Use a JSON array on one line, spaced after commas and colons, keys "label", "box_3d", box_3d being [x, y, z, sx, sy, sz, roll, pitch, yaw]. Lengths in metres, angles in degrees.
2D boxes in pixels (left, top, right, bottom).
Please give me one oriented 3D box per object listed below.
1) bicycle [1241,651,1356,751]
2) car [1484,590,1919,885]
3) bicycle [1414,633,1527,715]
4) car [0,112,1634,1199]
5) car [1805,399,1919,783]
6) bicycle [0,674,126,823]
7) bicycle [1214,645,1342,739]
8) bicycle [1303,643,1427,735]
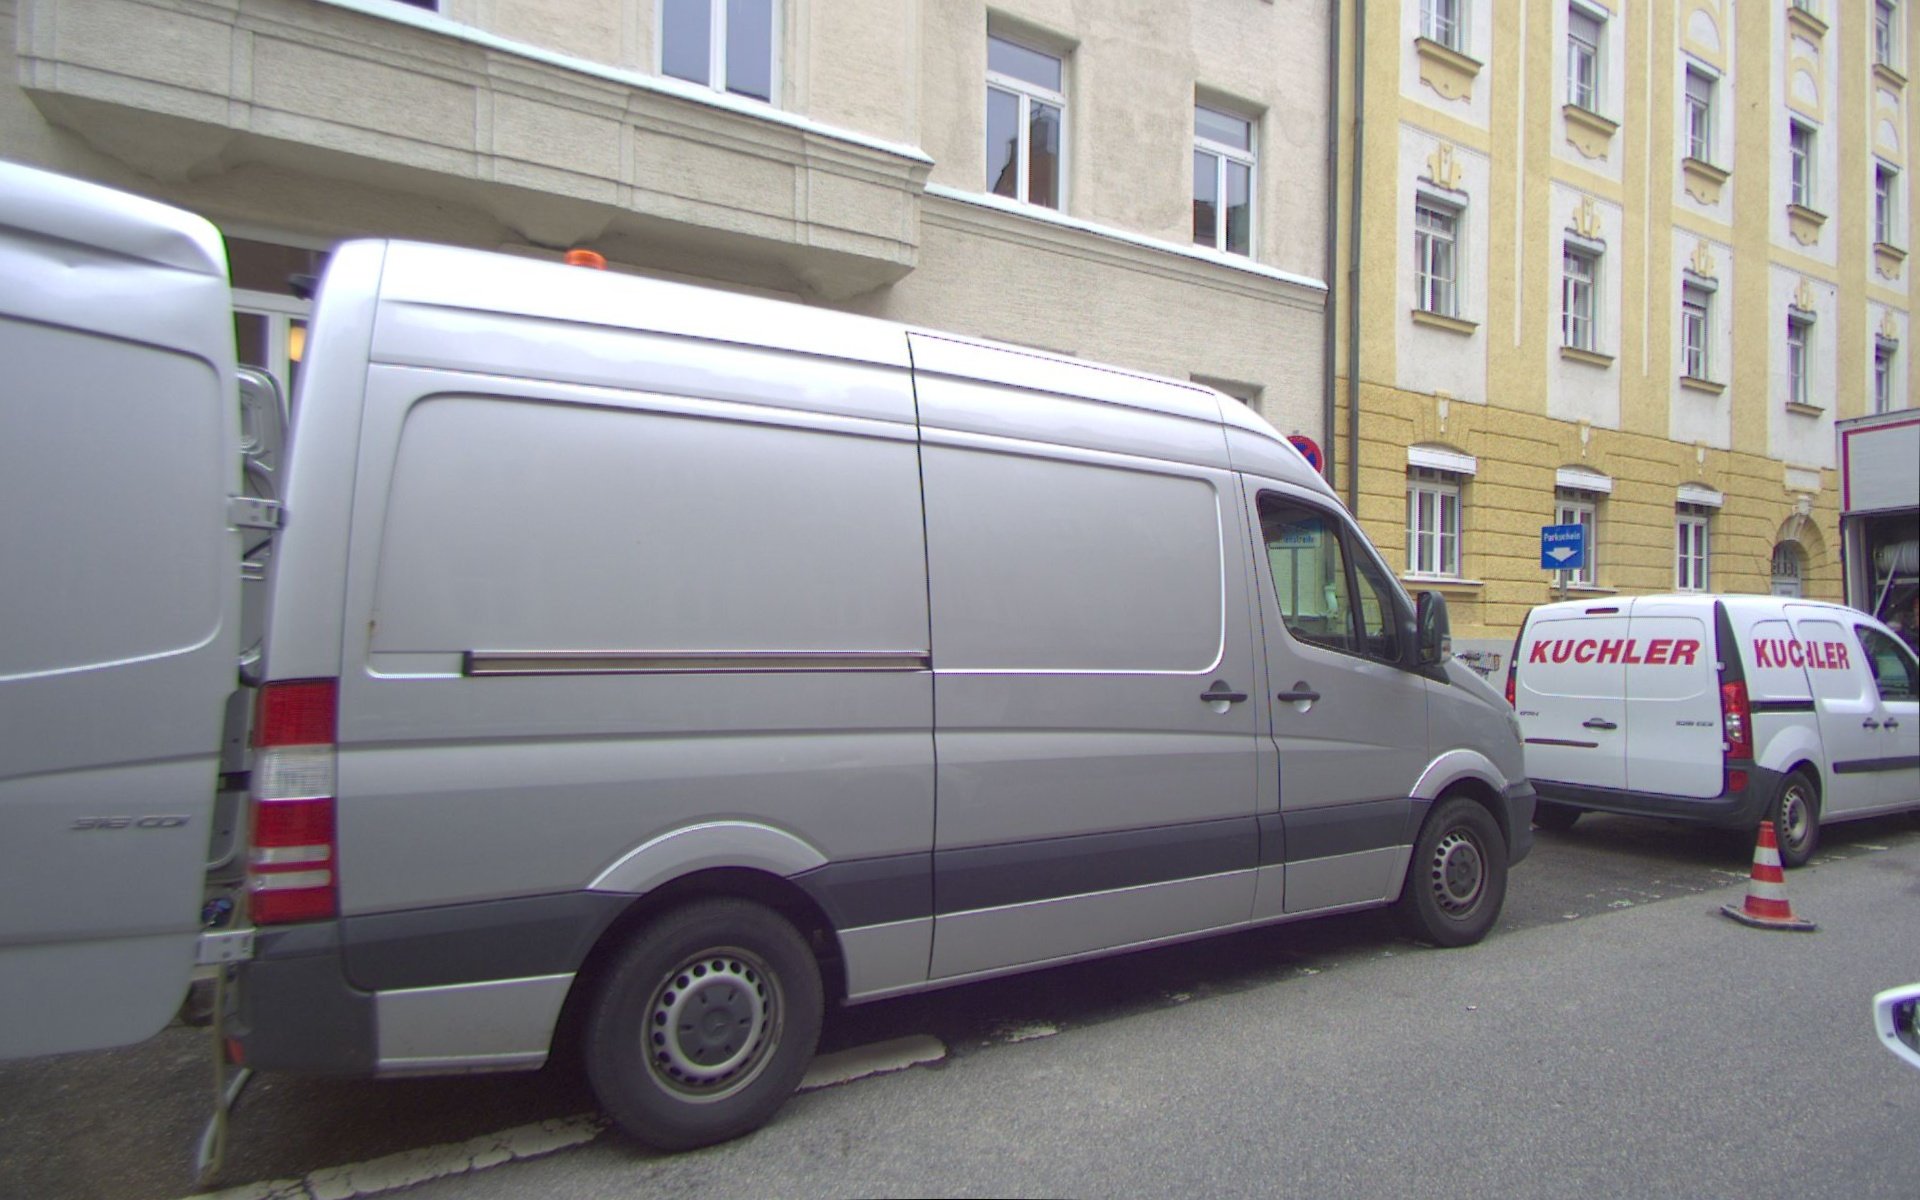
[{"label": "bicycle", "box_3d": [4.130, 1.191, 12.180, 1.848, 1.119, 0.397, 2, -1, -39]}, {"label": "car", "box_3d": [6.335, 0.930, 7.951, 4.272, 1.802, 1.756, 1, -3, -28]}, {"label": "bicycle", "box_3d": [7.419, 1.063, 14.570, 1.745, 1.119, 0.604, 2, -1, -30]}, {"label": "car", "box_3d": [-0.067, 0.391, 4.394, 6.793, 2.620, 2.048, 1, -5, -29]}, {"label": "car", "box_3d": [13.628, 0.003, 11.826, 8.618, 3.868, 2.800, 2, -2, -29]}, {"label": "bicycle", "box_3d": [-6.666, 0.984, 6.590, 1.779, 0.935, 0.394, 1, 1, -26]}, {"label": "bicycle", "box_3d": [4.058, 1.144, 12.753, 1.842, 1.119, 0.399, 2, -1, -30]}, {"label": "bicycle", "box_3d": [5.352, 1.154, 13.252, 1.745, 1.119, 0.504, 2, 1, -30]}]
